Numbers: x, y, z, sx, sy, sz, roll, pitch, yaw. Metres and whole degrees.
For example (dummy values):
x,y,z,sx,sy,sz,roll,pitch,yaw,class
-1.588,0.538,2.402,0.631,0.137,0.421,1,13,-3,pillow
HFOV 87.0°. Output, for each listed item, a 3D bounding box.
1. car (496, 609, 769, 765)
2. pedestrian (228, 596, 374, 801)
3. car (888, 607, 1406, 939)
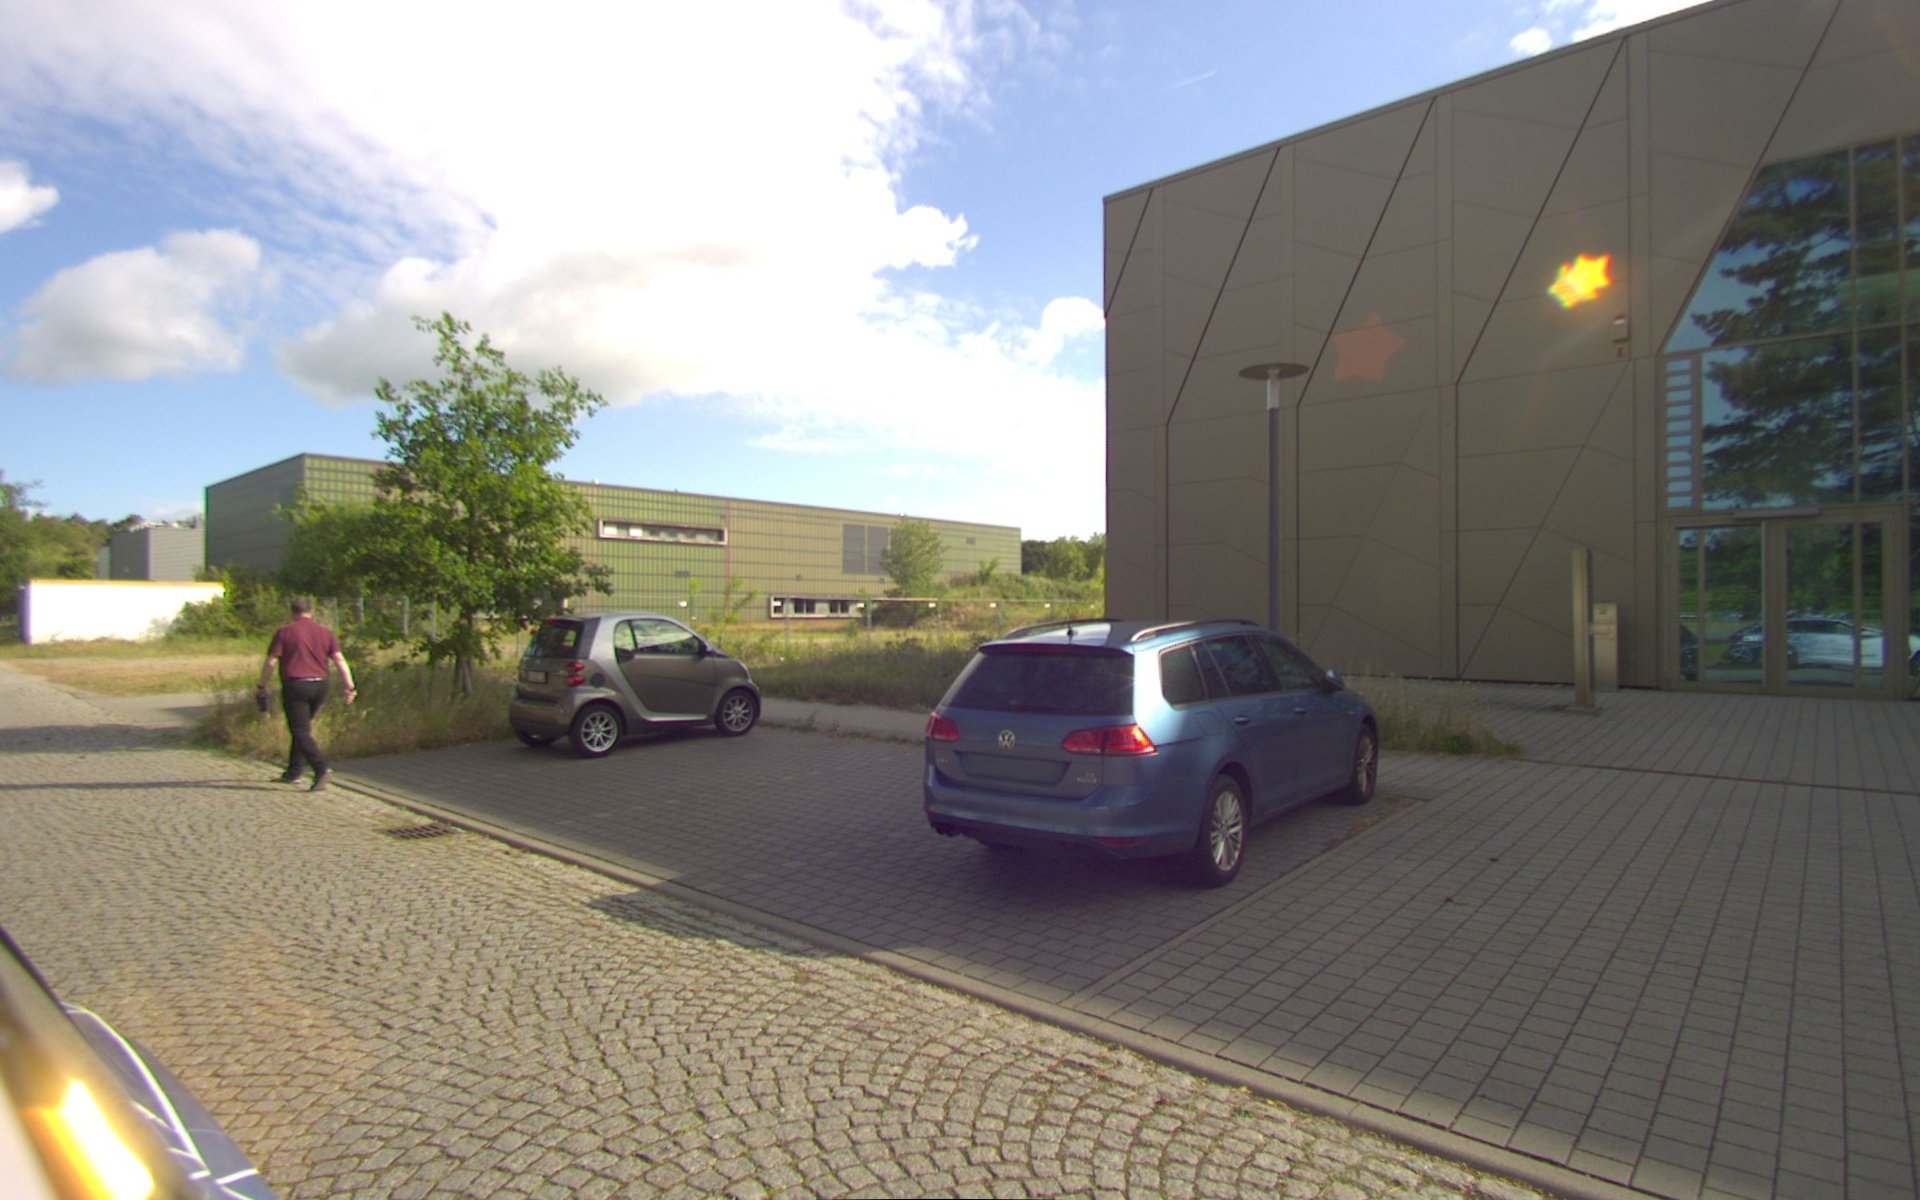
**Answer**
x,y,z,sx,sy,sz,roll,pitch,yaw,class
-3.801,0.915,11.975,1.518,1.554,2.671,-1,0,41,car
-6.187,0.871,9.500,1.151,1.785,0.796,-1,-2,38,pedestrian
1.568,0.846,6.962,1.679,1.475,4.215,-2,0,39,car
